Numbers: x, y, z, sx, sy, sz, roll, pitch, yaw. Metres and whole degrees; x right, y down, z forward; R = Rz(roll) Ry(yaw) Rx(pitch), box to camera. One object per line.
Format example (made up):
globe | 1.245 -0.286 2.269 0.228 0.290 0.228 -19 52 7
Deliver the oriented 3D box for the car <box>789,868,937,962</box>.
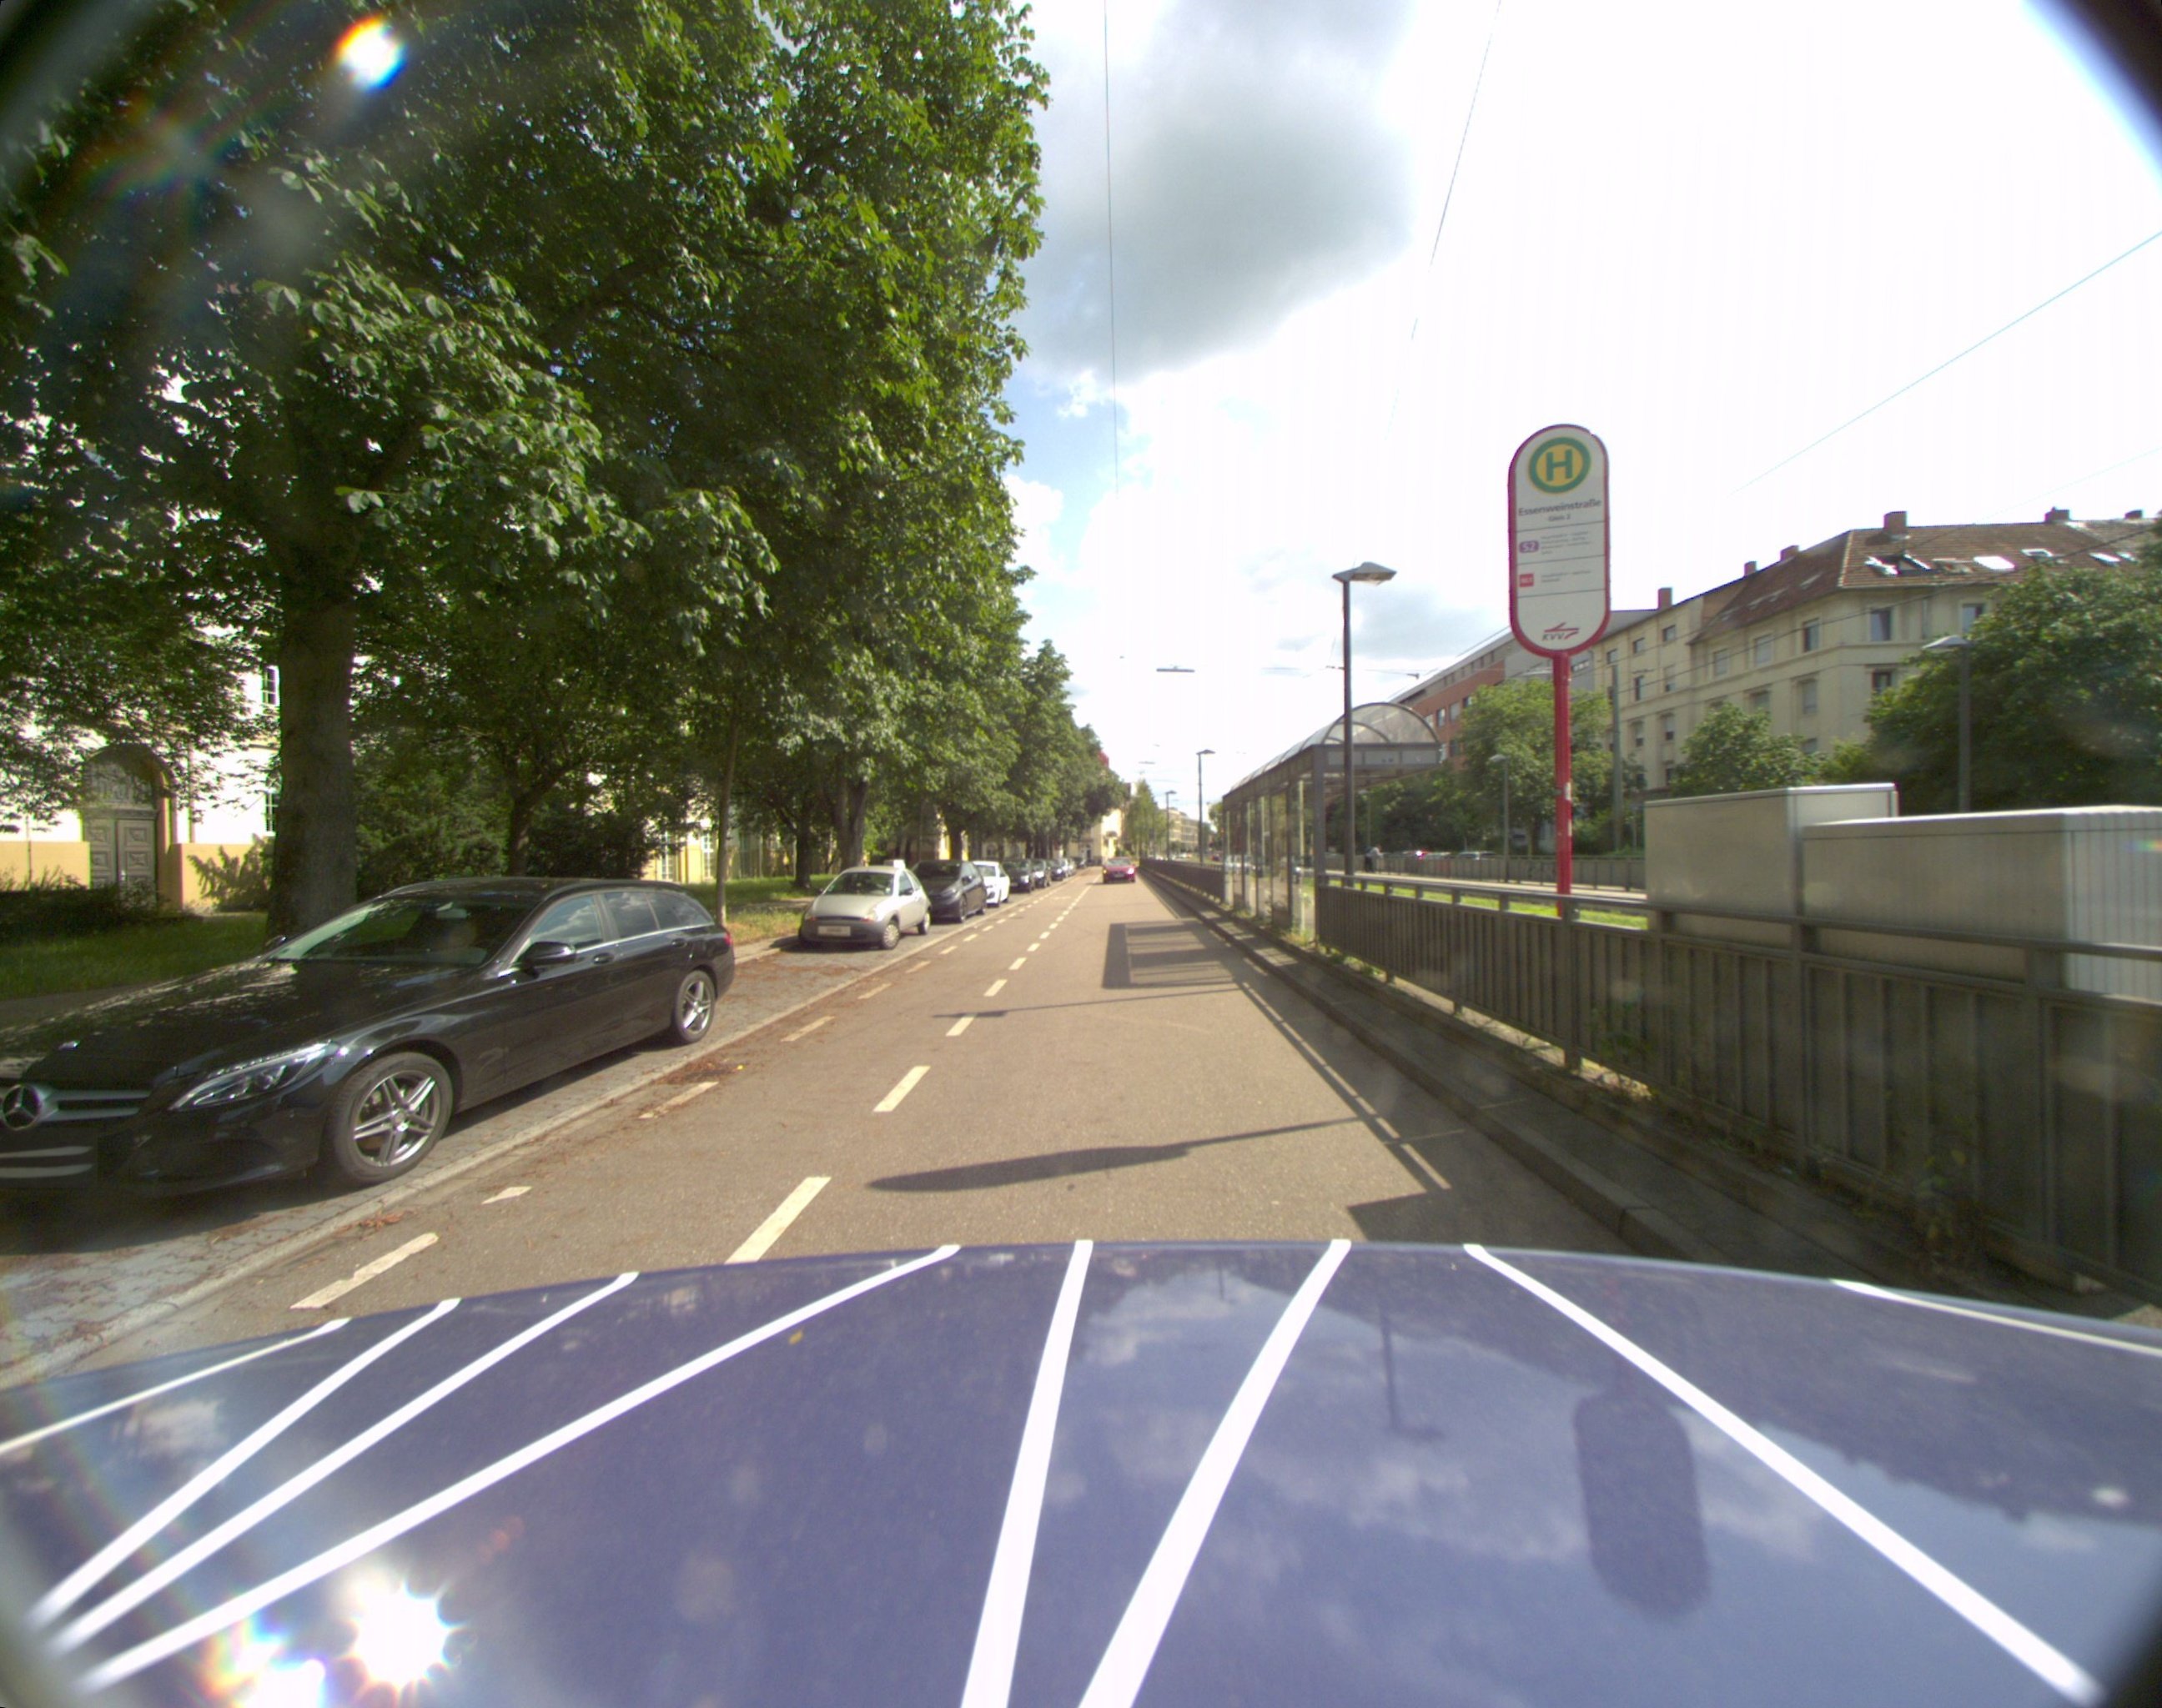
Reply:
car | -3.968 1.038 14.402 1.594 1.437 3.598 1 1 3

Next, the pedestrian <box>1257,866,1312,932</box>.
pedestrian | 3.457 0.749 12.871 0.662 1.066 0.725 -1 0 37

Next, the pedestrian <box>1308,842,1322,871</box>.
pedestrian | 15.445 0.149 50.212 0.752 1.881 0.639 -1 3 5

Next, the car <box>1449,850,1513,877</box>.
car | 24.796 0.582 47.064 4.161 1.556 1.921 -1 1 -38

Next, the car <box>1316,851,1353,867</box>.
car | 25.788 0.525 77.250 3.316 1.412 1.581 -3 1 -27

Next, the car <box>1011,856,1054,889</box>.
car | -2.428 0.924 39.307 1.694 1.552 4.308 2 0 3

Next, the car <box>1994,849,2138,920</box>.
car | 23.518 0.659 18.121 4.006 1.477 1.606 -1 0 -30

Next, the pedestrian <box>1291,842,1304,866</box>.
pedestrian | 15.647 -0.003 54.924 0.607 1.744 0.626 0 2 43

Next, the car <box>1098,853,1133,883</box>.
car | 1.934 0.758 42.758 1.790 1.499 4.001 -2 0 3

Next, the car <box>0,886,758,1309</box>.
car | -4.352 1.060 5.406 1.922 1.433 4.797 1 0 2

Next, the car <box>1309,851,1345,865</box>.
car | 27.153 0.444 83.869 4.007 1.487 1.647 -1 0 -34

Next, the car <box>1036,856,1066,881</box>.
car | -1.945 0.937 50.898 1.836 1.458 4.830 1 1 -1

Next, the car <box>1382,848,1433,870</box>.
car | 25.623 0.384 59.606 4.006 1.559 1.606 -1 0 -31

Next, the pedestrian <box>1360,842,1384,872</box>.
pedestrian | 15.693 0.144 41.045 0.991 1.569 0.798 -1 1 0

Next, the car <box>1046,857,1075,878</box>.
car | -1.479 0.975 56.827 1.639 1.423 4.016 2 0 5

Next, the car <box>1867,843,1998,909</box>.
car | 23.368 0.566 20.826 4.007 1.630 1.823 -1 -1 -34

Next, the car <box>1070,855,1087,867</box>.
car | -0.269 0.798 89.267 1.689 1.379 3.924 0 1 3

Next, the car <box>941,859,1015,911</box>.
car | -3.352 0.959 25.398 1.840 1.515 4.253 1 0 0

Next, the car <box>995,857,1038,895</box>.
car | -2.834 0.944 34.124 1.559 1.452 3.558 2 1 0

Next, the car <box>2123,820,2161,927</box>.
car | 22.926 0.342 15.126 3.957 2.058 2.045 -1 0 -28

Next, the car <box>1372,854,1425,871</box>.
car | 26.201 0.712 62.685 4.005 1.143 1.789 -3 0 -26

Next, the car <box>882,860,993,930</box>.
car | -3.573 0.955 19.801 1.729 1.574 4.678 0 0 3

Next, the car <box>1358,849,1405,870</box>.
car | 25.852 0.473 65.315 4.006 1.520 1.669 -3 0 -34

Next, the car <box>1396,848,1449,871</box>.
car | 25.522 0.399 56.712 4.144 1.630 1.829 -1 1 -37

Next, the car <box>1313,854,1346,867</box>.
car | 26.290 0.650 80.307 3.258 1.296 1.600 -1 0 -32

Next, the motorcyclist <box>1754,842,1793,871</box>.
motorcyclist | 32.226 0.129 35.389 0.940 1.331 0.987 0 0 4

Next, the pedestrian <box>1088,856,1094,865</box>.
pedestrian | 1.532 0.959 112.898 0.804 1.238 0.892 -1 2 5
